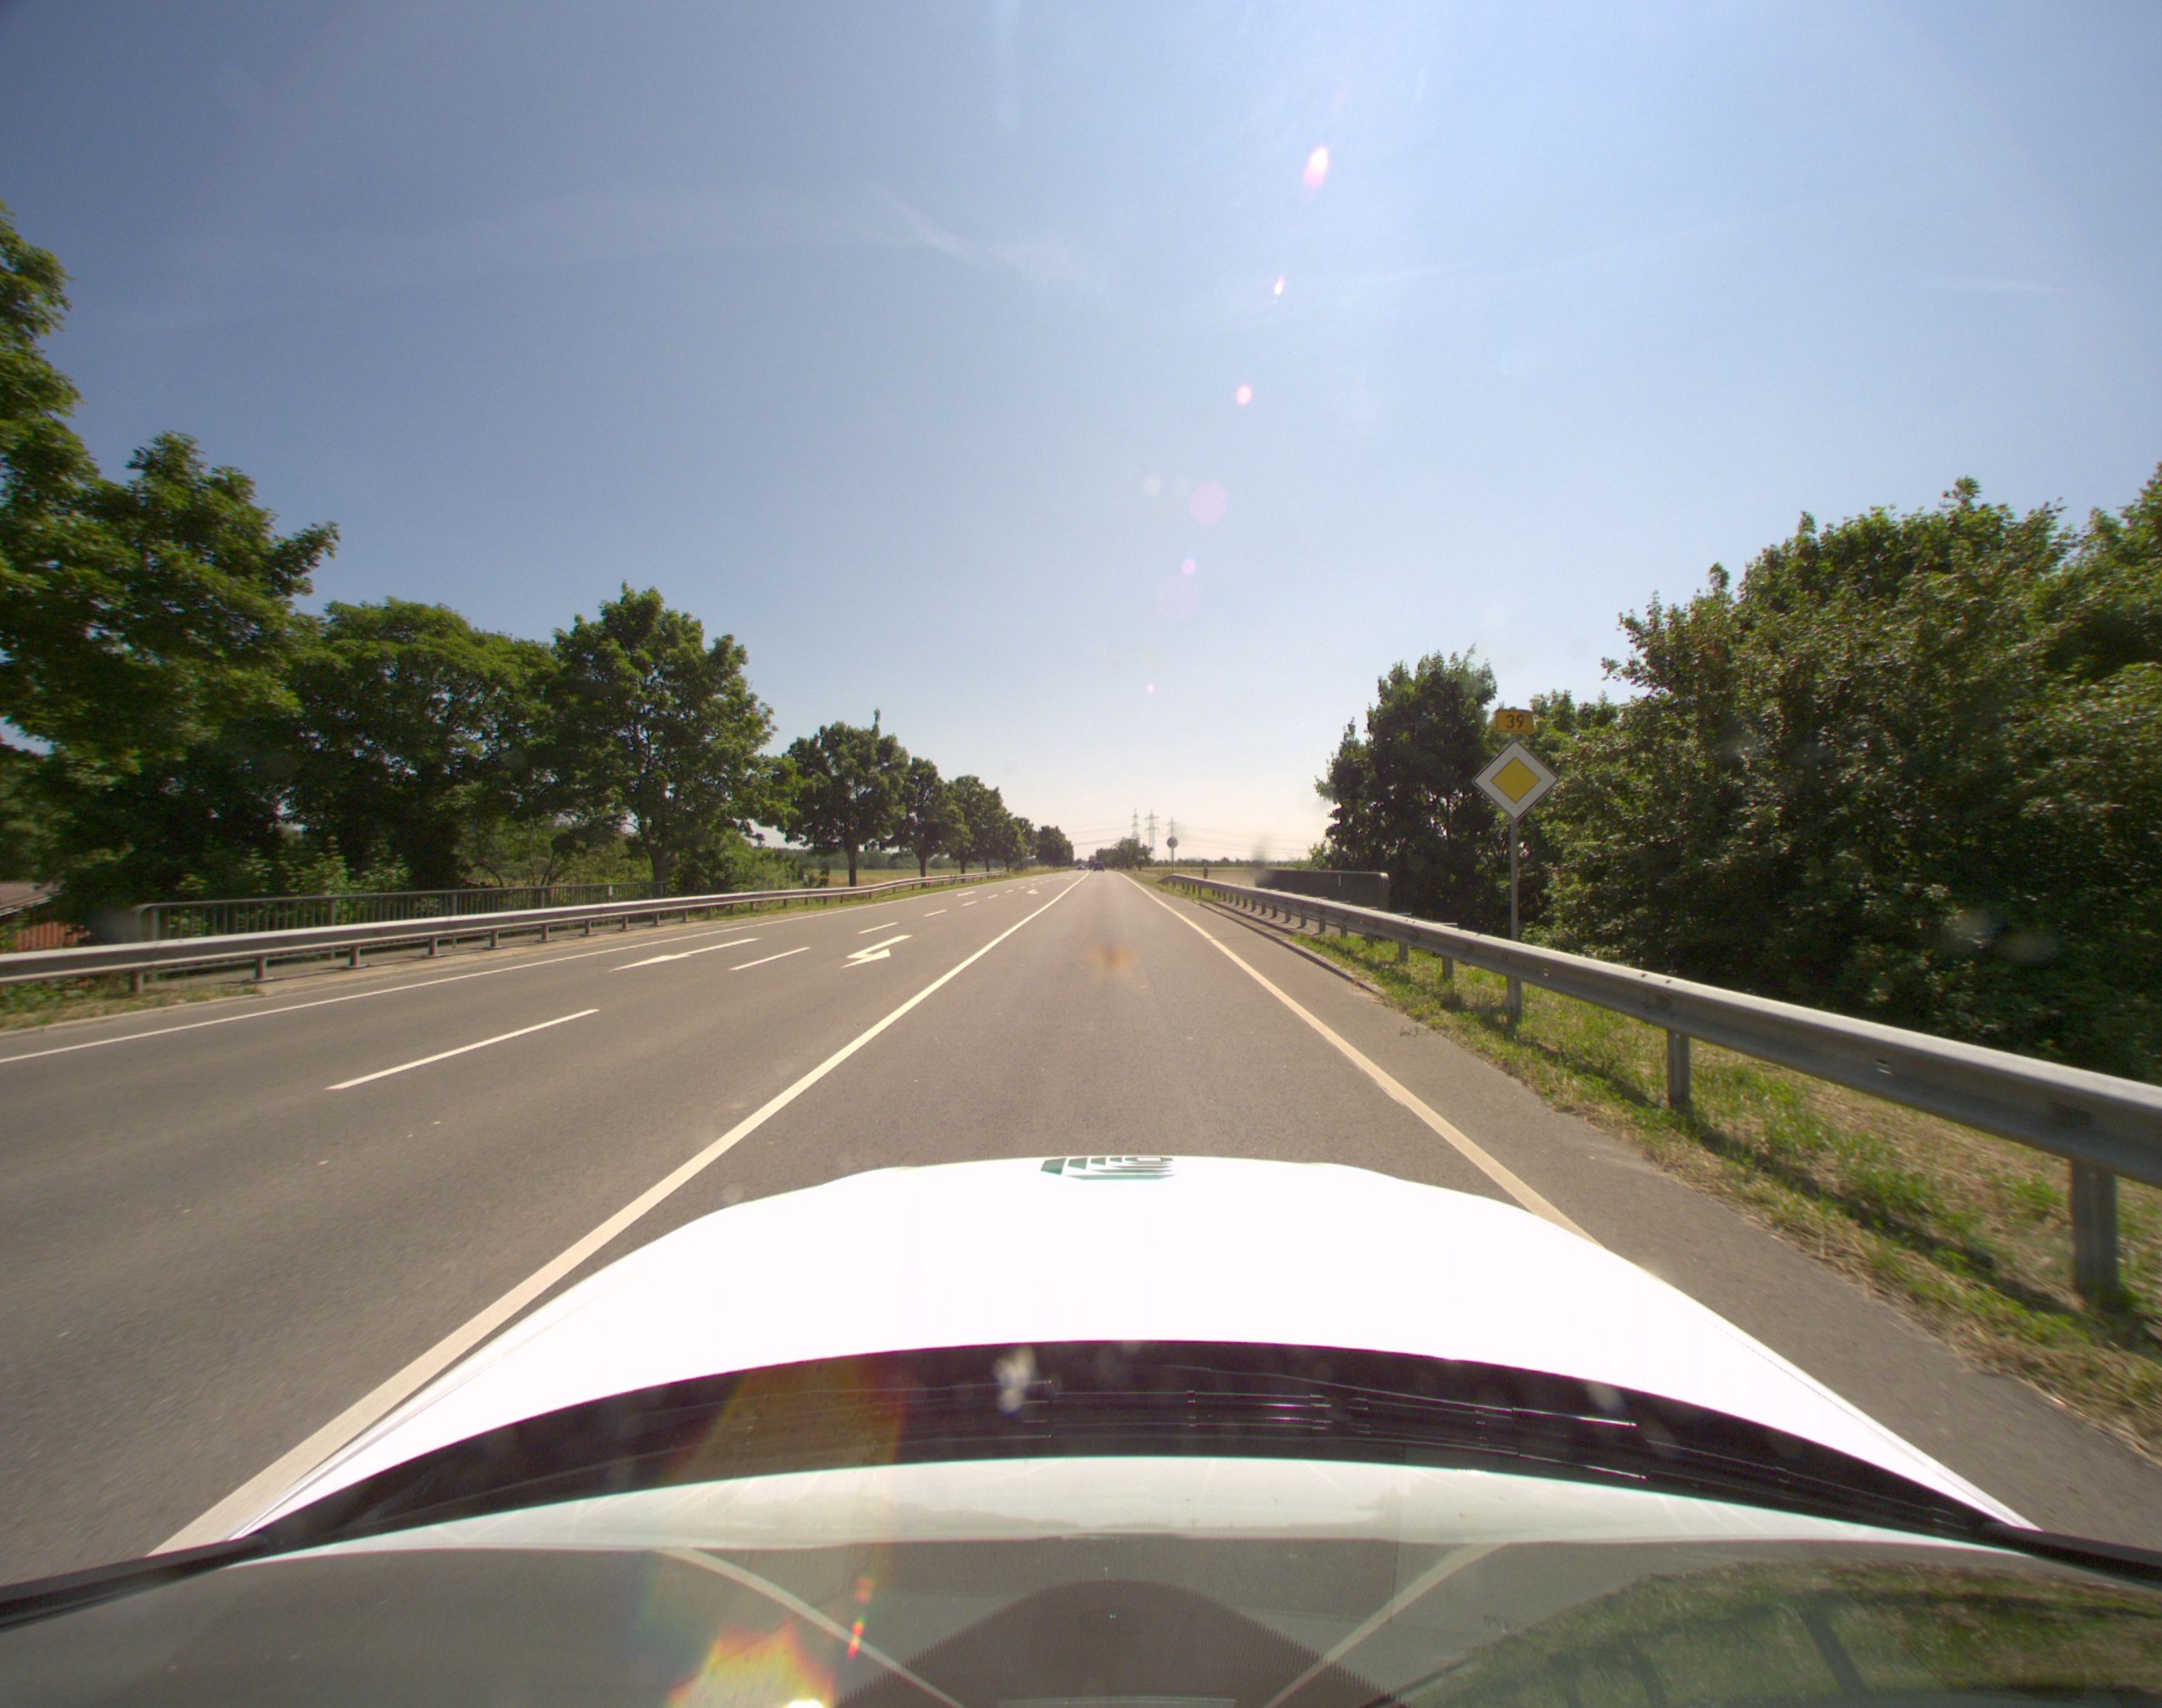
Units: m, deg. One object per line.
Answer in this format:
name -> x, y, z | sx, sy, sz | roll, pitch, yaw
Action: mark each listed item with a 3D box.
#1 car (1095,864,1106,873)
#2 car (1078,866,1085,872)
car -> 3.369, 2.463, 142.858 | 1.879, 1.518, 4.038 | 2, -1, 0
car -> 0.044, 3.665, 204.161 | 1.734, 1.473, 4.617 | -2, -1, 0
